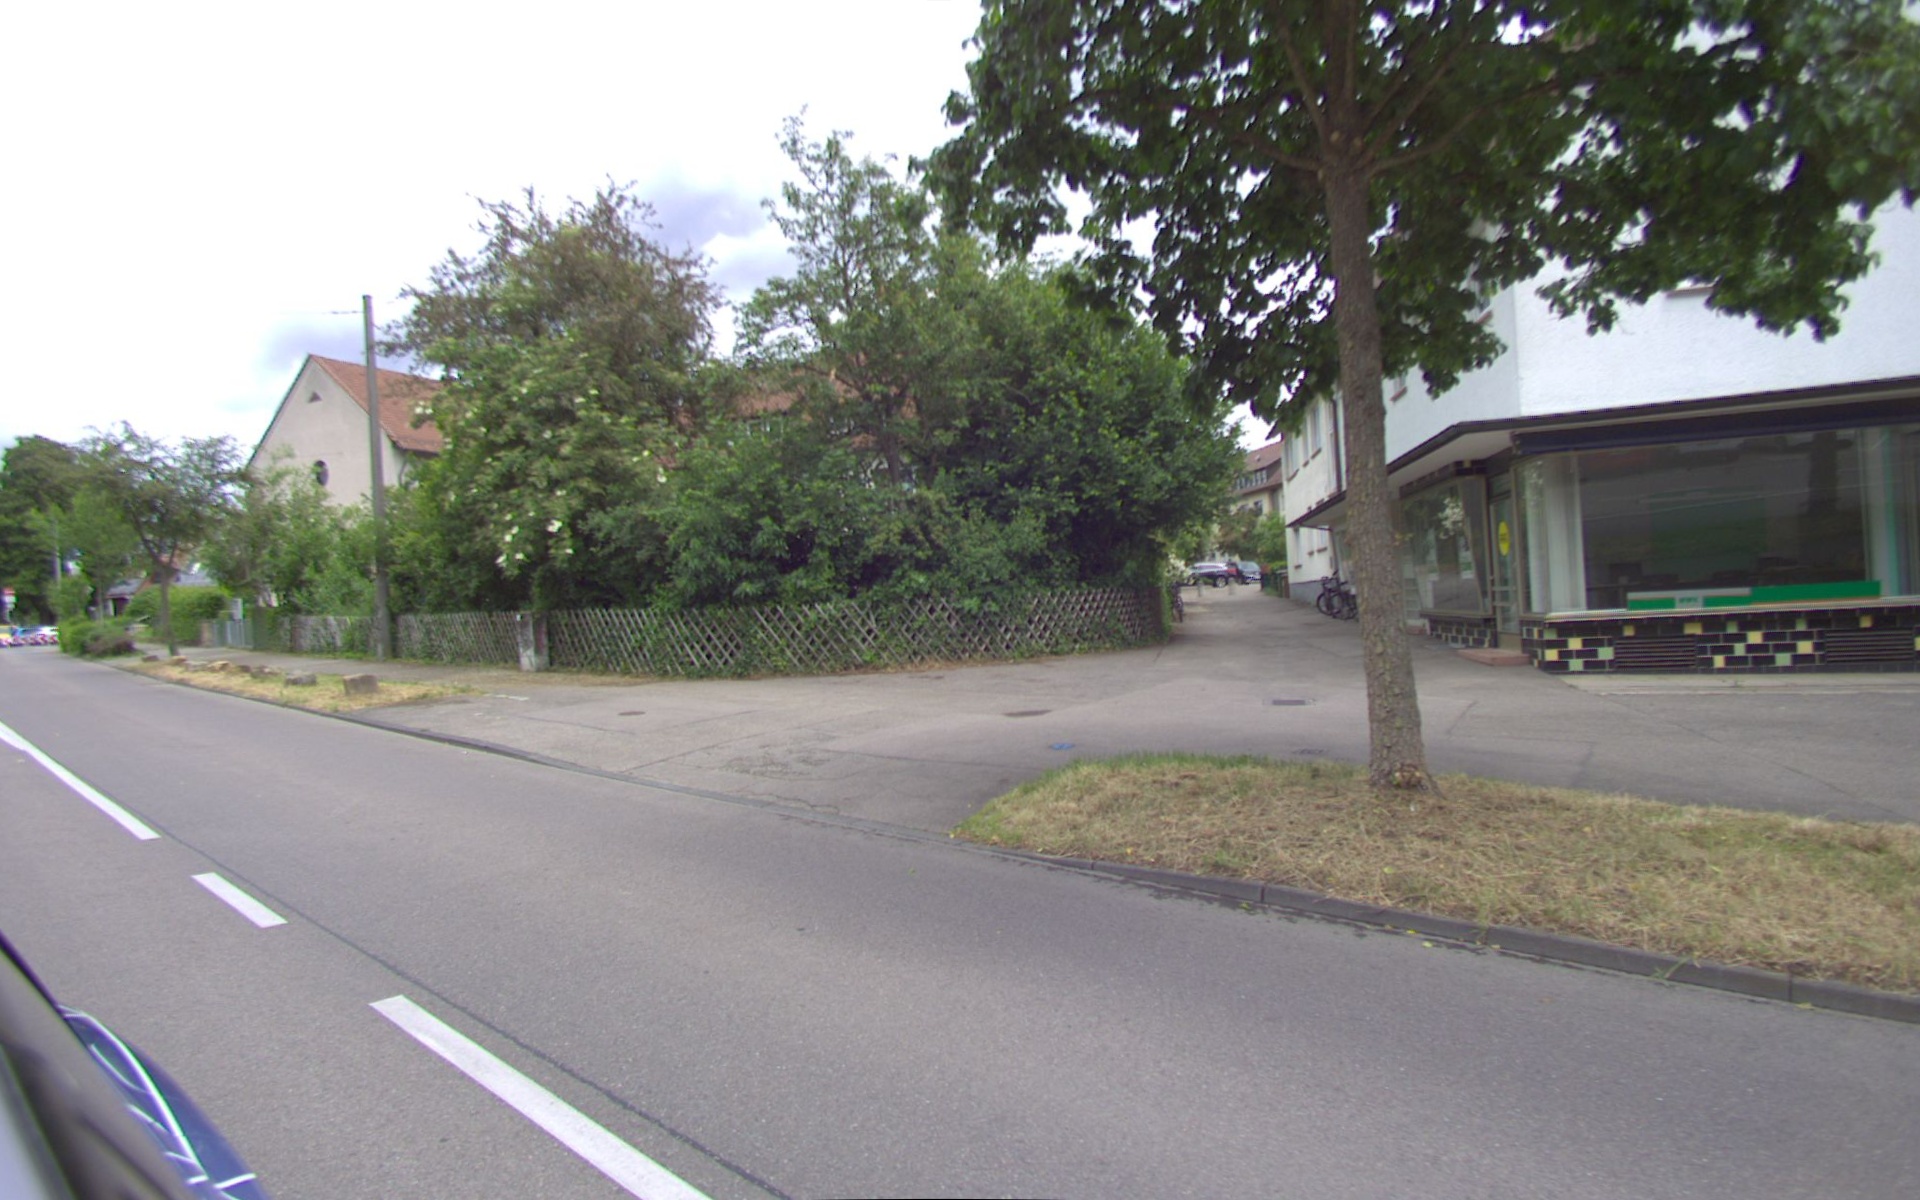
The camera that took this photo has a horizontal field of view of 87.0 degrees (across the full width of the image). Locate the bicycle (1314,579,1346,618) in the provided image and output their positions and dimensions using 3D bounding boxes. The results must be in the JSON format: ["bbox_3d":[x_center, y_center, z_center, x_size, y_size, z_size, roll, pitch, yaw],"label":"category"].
[{"bbox_3d":[9.165,-0.048,25.094,0.631,0.891,1.396,-3,2,18],"label":"bicycle"}]

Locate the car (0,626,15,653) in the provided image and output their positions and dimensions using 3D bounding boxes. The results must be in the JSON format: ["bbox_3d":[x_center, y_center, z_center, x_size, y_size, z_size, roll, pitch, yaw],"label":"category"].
[{"bbox_3d":[-75.090,3.153,78.881,1.894,2.004,4.803,-2,-1,-45],"label":"car"}]

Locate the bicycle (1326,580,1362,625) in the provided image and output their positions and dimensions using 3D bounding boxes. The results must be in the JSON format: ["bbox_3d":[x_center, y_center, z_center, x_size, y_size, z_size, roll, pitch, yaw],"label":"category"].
[{"bbox_3d":[8.757,0.035,23.123,0.655,0.919,1.636,-3,2,18],"label":"bicycle"}]

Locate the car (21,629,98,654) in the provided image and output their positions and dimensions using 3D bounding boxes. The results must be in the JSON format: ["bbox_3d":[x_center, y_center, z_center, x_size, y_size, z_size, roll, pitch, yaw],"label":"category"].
[{"bbox_3d":[-65.472,3.000,73.621,1.840,1.483,3.862,-4,-1,33],"label":"car"}]

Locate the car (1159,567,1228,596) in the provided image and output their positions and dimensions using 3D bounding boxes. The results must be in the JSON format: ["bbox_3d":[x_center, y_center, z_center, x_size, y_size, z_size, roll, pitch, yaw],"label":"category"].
[{"bbox_3d":[13.454,-1.052,58.452,3.557,1.482,1.632,-2,0,4],"label":"car"}]

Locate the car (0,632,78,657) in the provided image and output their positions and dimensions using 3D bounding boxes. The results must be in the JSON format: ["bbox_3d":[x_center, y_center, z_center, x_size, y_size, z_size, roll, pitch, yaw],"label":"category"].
[{"bbox_3d":[-67.872,3.278,74.567,1.844,1.558,4.123,-4,-1,40],"label":"car"}]

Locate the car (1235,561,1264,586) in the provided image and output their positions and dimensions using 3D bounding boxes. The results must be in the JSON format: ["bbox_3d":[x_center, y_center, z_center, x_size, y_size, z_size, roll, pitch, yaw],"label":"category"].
[{"bbox_3d":[18.493,-1.663,64.687,1.619,1.482,3.586,-2,0,14],"label":"car"}]
